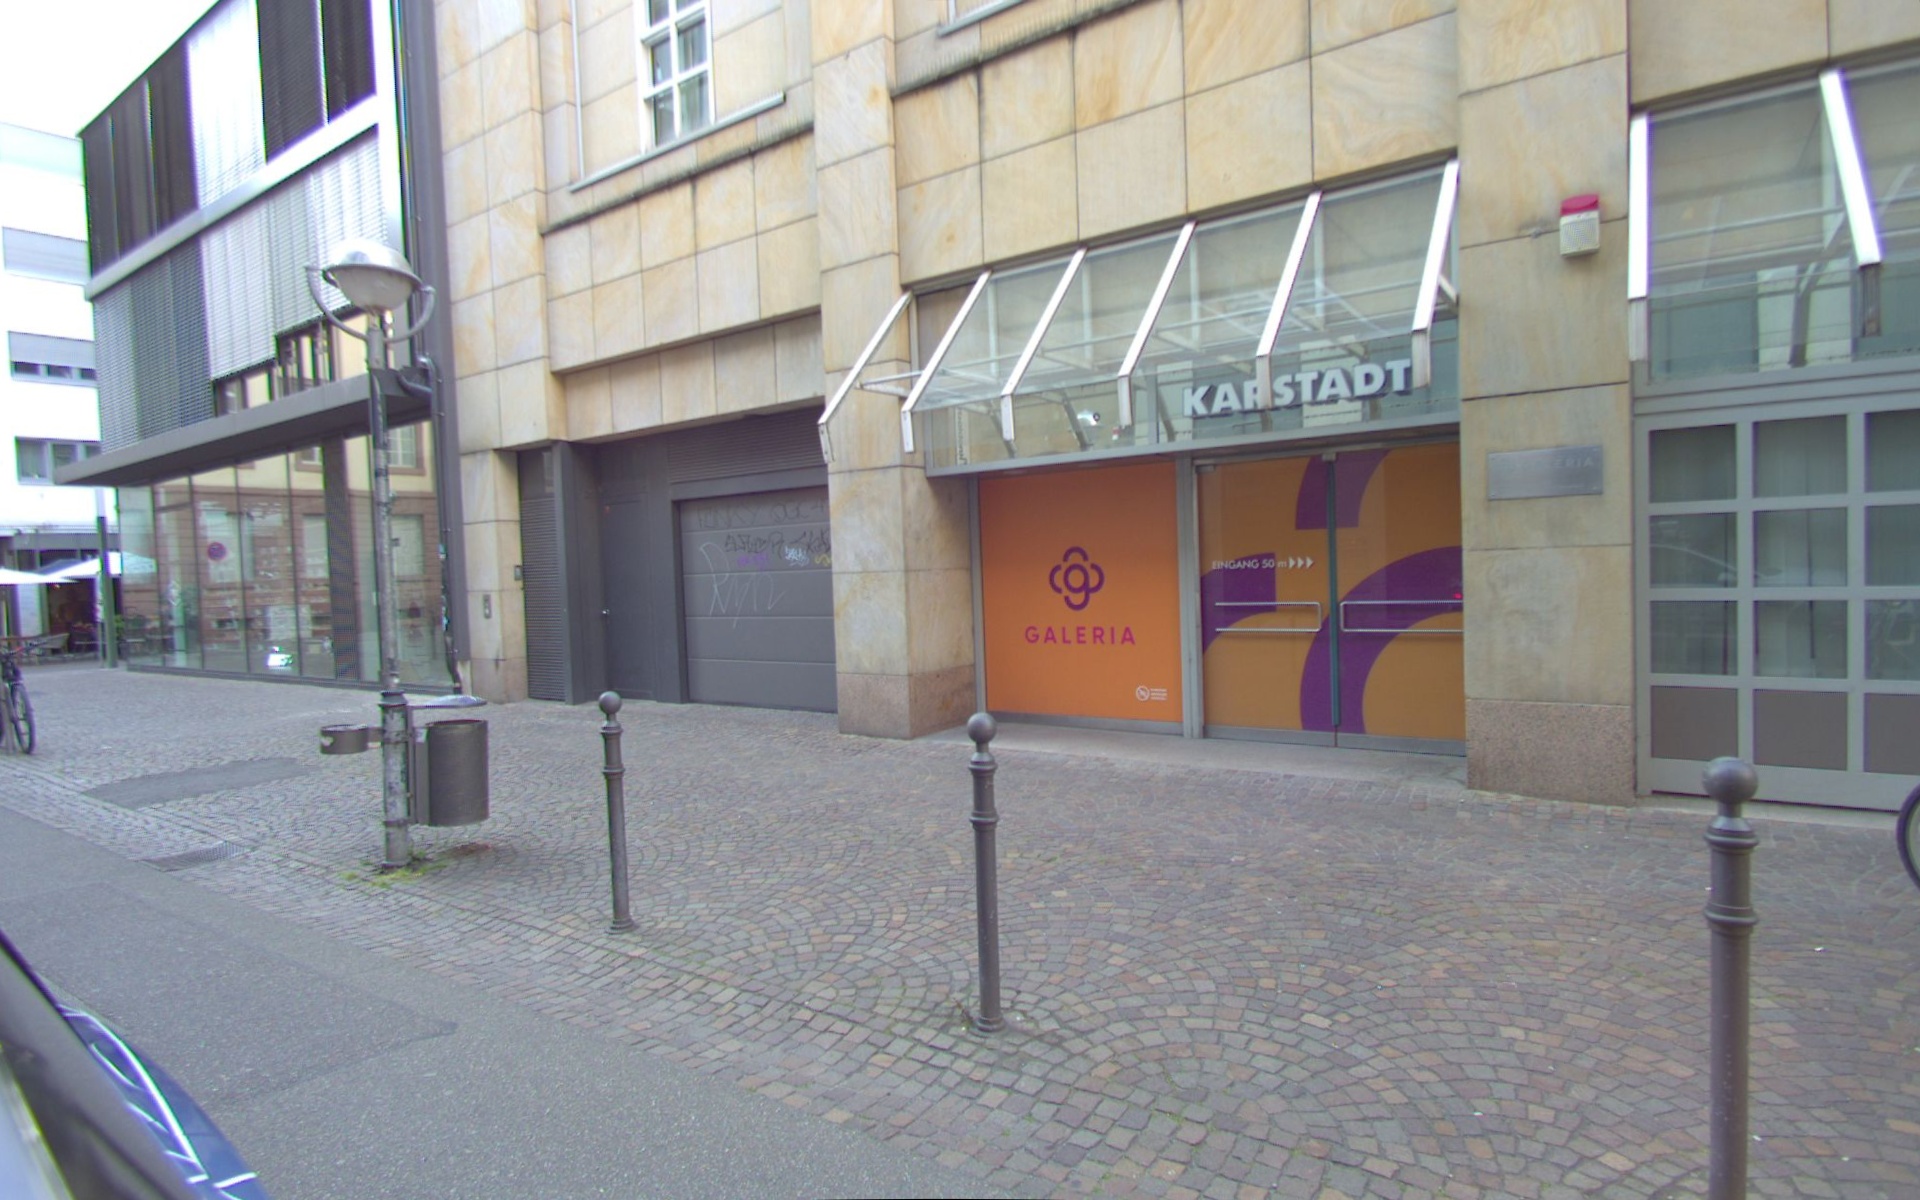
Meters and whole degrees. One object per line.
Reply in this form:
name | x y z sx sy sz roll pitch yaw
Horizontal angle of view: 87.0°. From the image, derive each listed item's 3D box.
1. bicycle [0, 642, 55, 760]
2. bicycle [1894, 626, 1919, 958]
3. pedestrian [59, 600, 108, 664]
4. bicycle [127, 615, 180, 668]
bicycle | -10.222 1.025 10.698 1.924 1.141 0.407 -1 2 32
bicycle | 4.119 0.666 3.091 0.685 1.120 1.779 -3 1 -40
pedestrian | -23.674 0.851 27.343 0.789 1.661 0.718 -2 1 30
bicycle | -18.770 0.978 23.543 1.699 1.144 0.461 -4 0 35
